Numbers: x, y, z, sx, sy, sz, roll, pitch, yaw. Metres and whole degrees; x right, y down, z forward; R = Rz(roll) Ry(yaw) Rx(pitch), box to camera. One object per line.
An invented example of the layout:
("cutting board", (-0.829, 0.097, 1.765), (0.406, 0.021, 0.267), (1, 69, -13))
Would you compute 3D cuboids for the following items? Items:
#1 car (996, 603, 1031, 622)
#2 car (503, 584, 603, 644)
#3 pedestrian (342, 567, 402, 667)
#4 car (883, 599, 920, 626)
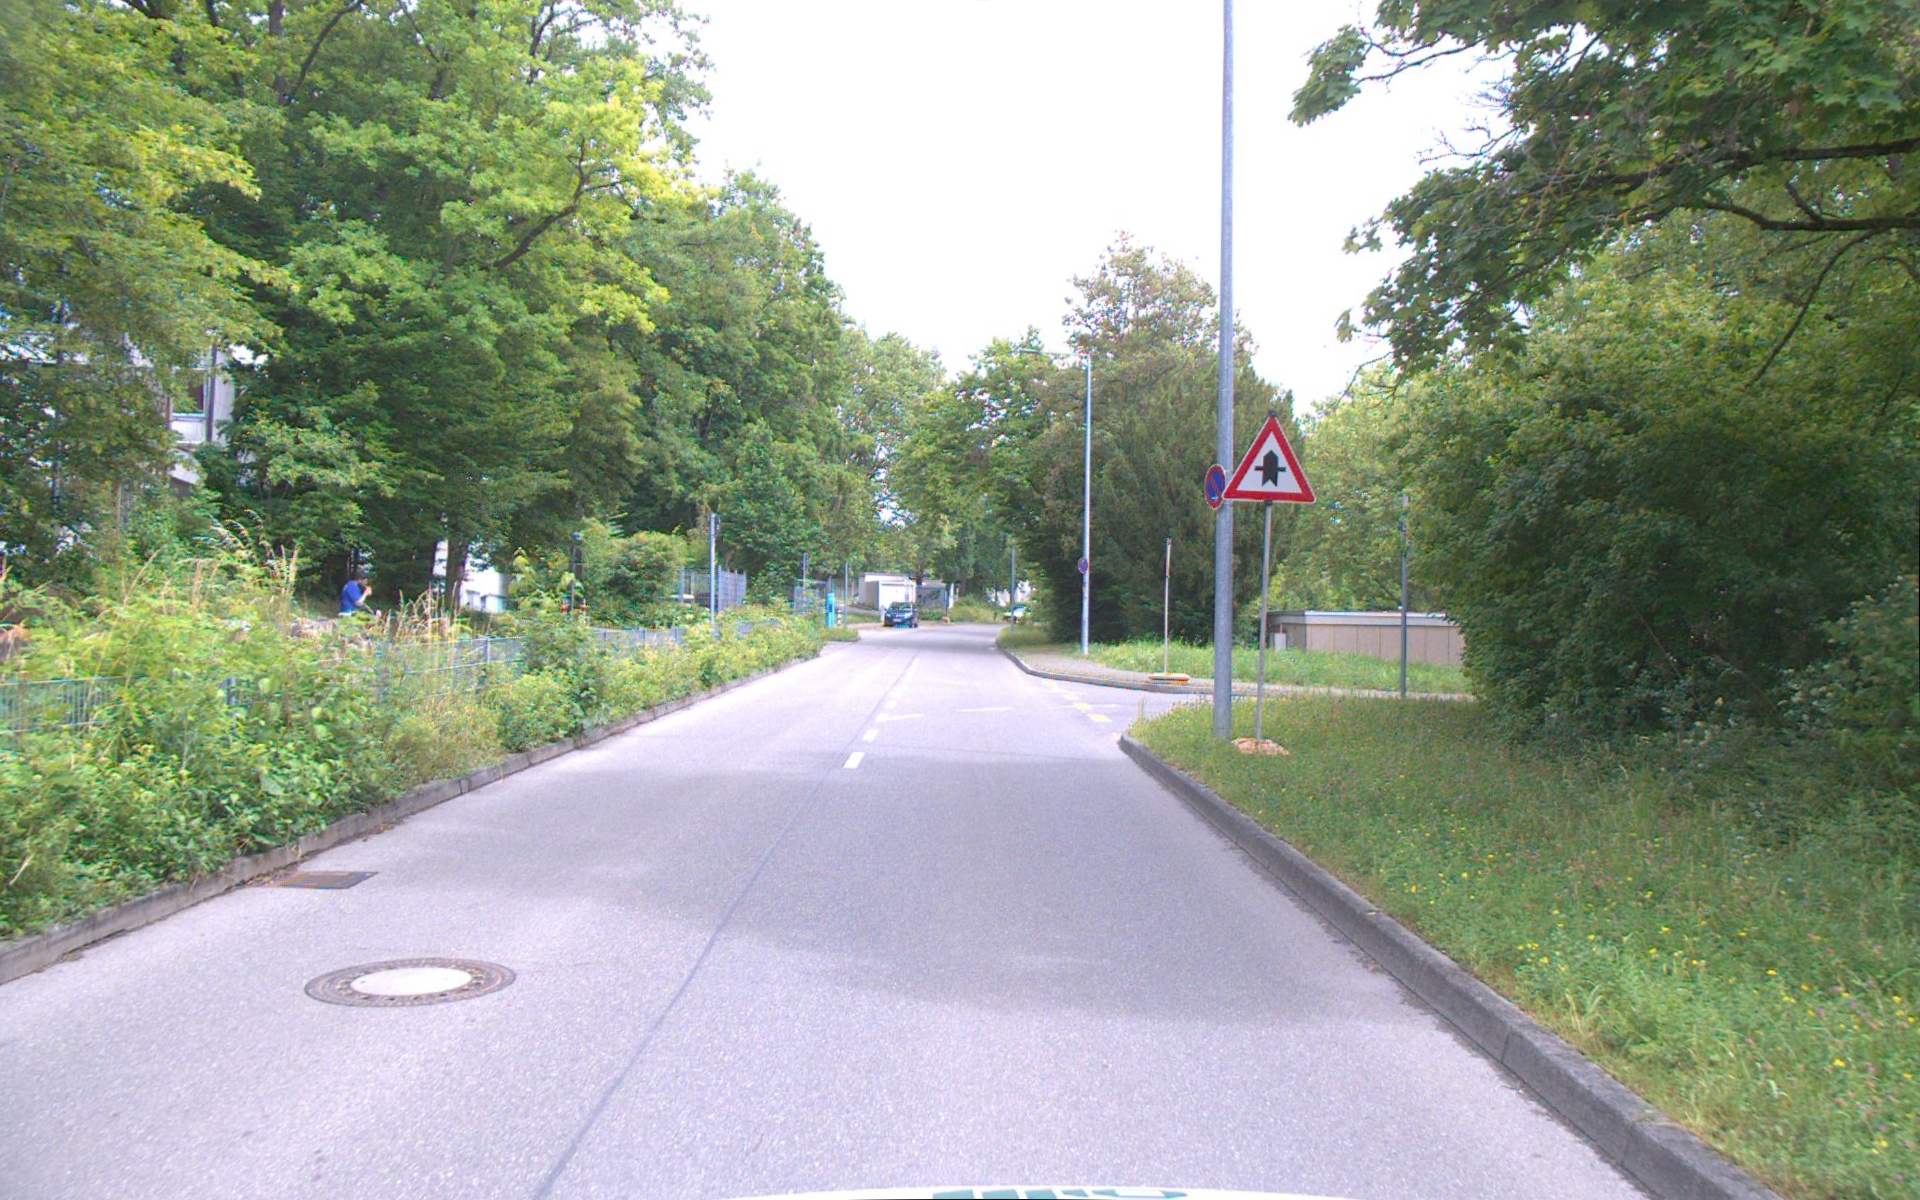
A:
("car", (4.452, 1.032, 136.296), (1.665, 1.427, 4.274), (2, -1, 19))
("car", (-14.562, 0.491, 59.368), (1.951, 2.049, 4.003), (1, 0, 11))
("pedestrian", (-10.124, 0.296, 28.513), (0.744, 1.691, 0.808), (1, 0, -3))
("car", (-3.501, 0.769, 99.231), (1.644, 1.538, 4.433), (2, -1, 5))
